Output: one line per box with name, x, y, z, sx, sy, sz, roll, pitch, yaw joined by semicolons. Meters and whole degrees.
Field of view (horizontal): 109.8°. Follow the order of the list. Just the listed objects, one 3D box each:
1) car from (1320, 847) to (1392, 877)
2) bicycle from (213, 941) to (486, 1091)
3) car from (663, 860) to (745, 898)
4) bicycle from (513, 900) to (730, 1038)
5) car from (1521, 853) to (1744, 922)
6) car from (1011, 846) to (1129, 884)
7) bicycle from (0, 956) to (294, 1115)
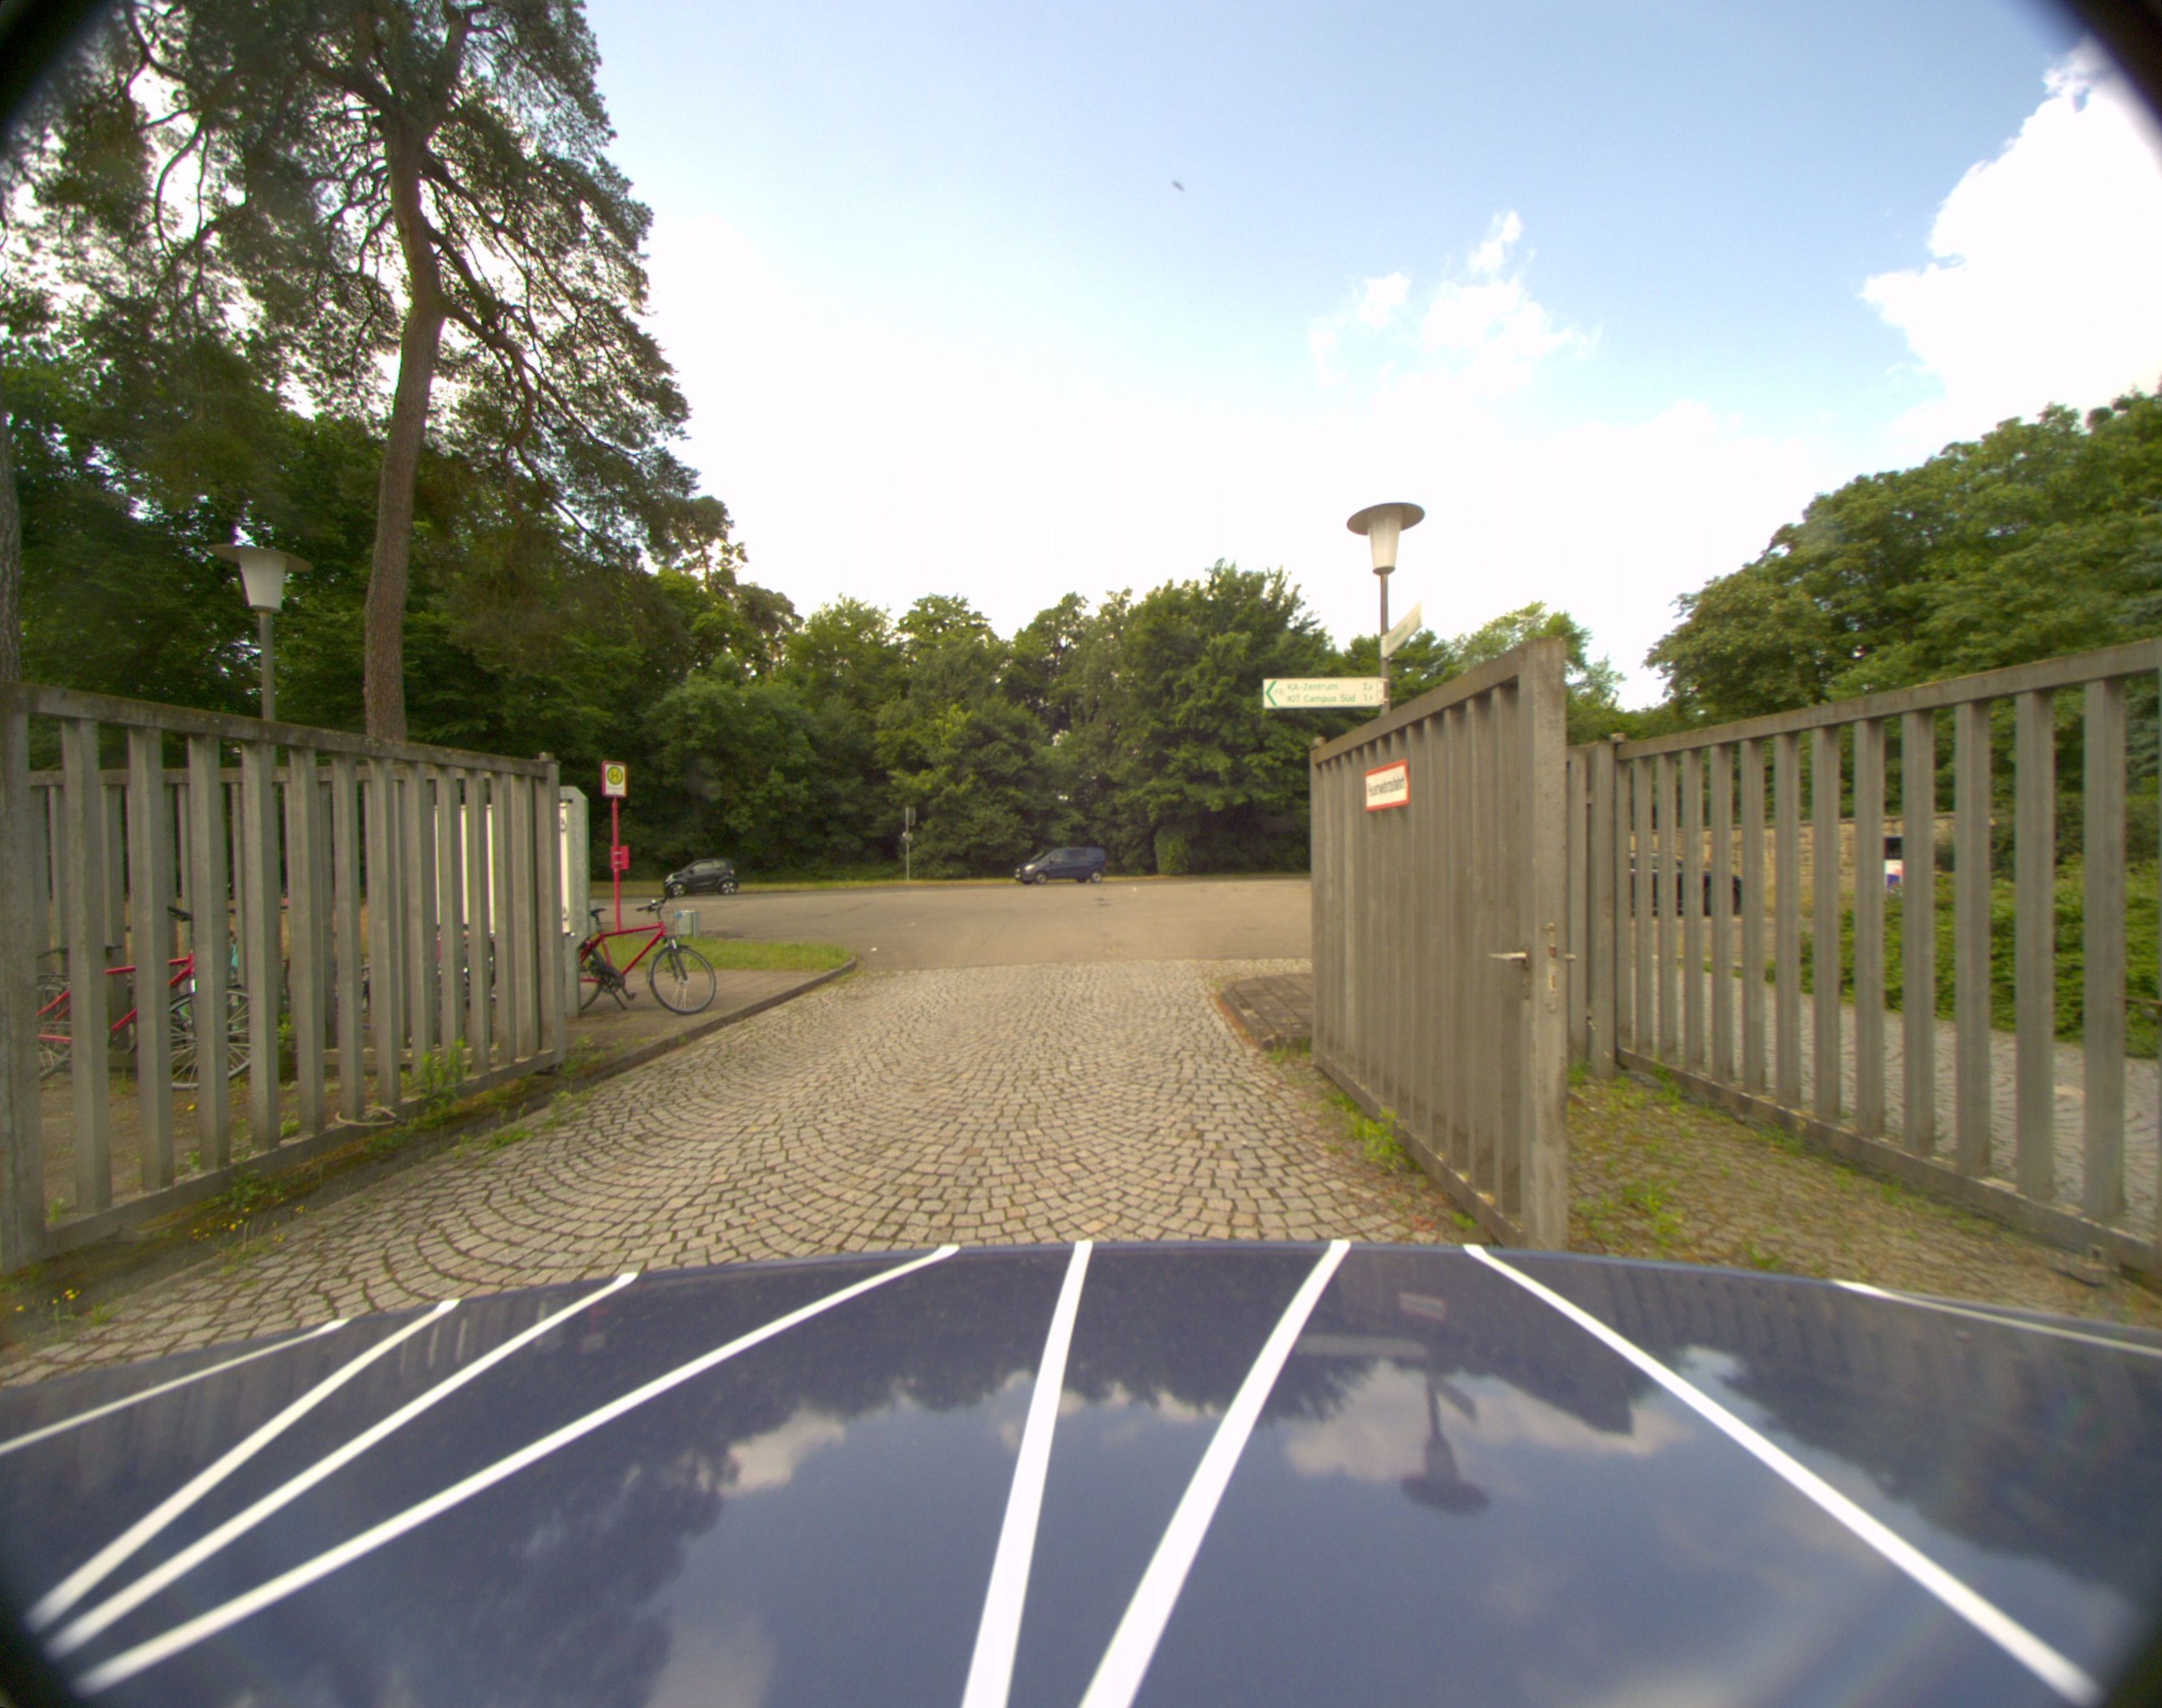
car;17.061;0.447;47.092;4.155;1.749;1.863;-1;2;-29
bicycle;-5.479;1.200;5.721;1.730;1.027;0.387;0;1;2
car;-15.393;0.971;31.026;2.889;1.437;1.651;-1;1;-30
bicycle;-4.434;1.088;7.449;1.655;1.223;0.749;0;1;-6
car;13.235;0.794;18.464;3.995;1.508;1.803;-1;0;7
car;-0.542;0.533;40.272;5.955;1.825;1.995;-1;1;-28
bicycle;-6.533;1.193;5.103;1.868;0.934;0.503;0;1;-4
